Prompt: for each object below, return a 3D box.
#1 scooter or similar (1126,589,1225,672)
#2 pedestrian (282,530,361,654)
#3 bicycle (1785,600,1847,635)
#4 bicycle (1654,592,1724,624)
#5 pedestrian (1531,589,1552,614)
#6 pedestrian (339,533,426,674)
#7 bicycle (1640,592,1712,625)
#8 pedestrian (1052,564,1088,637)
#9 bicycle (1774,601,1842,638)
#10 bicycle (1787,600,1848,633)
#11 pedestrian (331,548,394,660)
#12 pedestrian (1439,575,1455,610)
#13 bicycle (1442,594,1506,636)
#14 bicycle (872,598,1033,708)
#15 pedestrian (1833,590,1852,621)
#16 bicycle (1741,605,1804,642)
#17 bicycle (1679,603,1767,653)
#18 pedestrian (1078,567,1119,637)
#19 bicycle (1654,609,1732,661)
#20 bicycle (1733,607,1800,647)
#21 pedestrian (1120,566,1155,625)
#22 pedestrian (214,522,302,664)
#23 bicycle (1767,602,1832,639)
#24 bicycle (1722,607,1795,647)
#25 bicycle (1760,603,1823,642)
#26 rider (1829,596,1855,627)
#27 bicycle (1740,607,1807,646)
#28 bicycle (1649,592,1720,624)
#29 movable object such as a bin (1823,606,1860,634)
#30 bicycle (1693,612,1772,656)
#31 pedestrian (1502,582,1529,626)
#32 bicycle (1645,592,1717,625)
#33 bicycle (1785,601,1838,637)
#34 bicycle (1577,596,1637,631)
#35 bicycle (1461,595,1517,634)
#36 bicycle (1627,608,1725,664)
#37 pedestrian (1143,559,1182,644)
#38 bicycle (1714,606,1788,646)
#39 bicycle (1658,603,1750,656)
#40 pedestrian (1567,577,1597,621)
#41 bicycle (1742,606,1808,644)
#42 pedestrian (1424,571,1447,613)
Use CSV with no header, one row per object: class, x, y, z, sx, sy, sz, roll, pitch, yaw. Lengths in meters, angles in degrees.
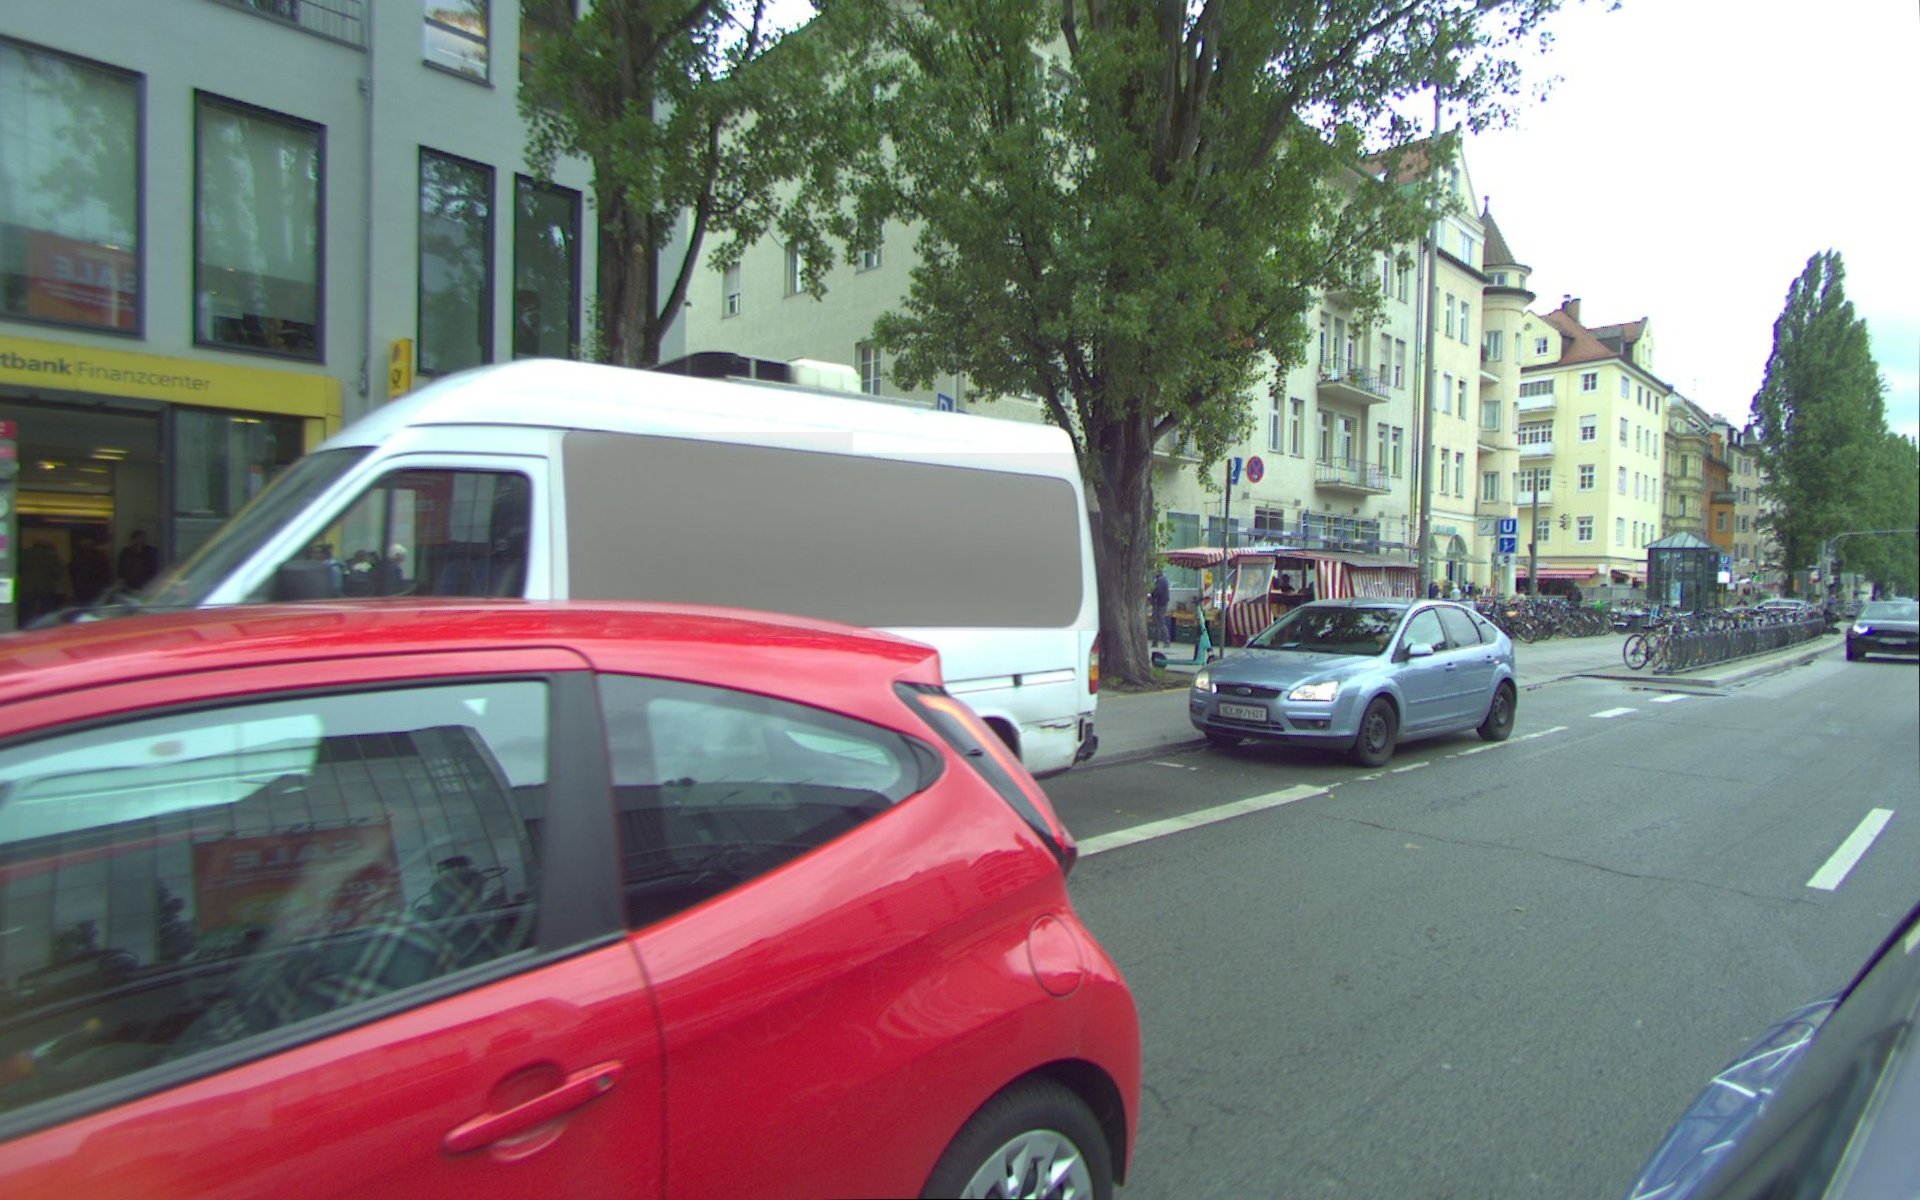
scooter or similar,3.428,0.462,16.121,1.457,1.222,0.396,3,2,30
pedestrian,-8.523,-0.116,13.514,0.760,1.604,0.691,0,2,-43
bicycle,29.993,0.603,35.484,0.468,1.151,1.682,0,1,-13
bicycle,31.022,0.320,43.099,0.617,1.242,2.317,0,2,-40
pedestrian,30.247,0.058,52.659,0.904,1.260,0.699,-2,3,-45
pedestrian,-7.408,0.032,13.013,0.725,1.745,0.722,2,2,-6
bicycle,29.540,0.345,41.784,0.617,1.242,2.317,0,2,-40
pedestrian,2.633,0.007,24.262,0.585,1.722,0.581,1,2,-35
bicycle,28.082,0.640,33.560,0.578,1.151,1.798,0,1,-7
bicycle,31.030,0.581,36.646,0.468,1.151,1.788,0,1,-9
pedestrian,-8.540,0.038,14.487,0.694,1.554,0.768,1,2,-26
pedestrian,22.012,-0.338,45.766,0.562,1.560,0.584,2,2,30
bicycle,15.107,0.421,29.767,0.402,1.116,1.635,0,3,-34
bicycle,-0.071,0.575,11.504,1.787,1.174,0.480,1,1,-27
pedestrian,53.022,0.312,60.817,0.728,1.823,0.701,2,3,38
bicycle,24.190,0.706,30.170,0.390,1.073,1.851,0,-2,2
bicycle,17.853,0.665,23.725,0.536,1.119,1.803,0,-2,-5
pedestrian,3.261,0.039,23.818,0.623,1.603,0.644,1,2,-35
bicycle,15.775,0.762,21.831,0.360,1.068,1.801,0,-2,0
bicycle,22.327,0.758,28.047,0.390,1.073,1.851,0,-2,2
pedestrian,5.129,-0.138,29.172,0.750,1.671,0.603,1,1,-36
pedestrian,-8.629,-0.098,12.442,0.785,1.669,0.691,0,1,-43
bicycle,27.195,0.654,32.802,0.480,1.151,1.798,0,1,-5
bicycle,21.712,0.746,27.564,0.389,1.073,1.803,0,-2,-5
bicycle,25.643,0.684,31.233,0.480,1.151,1.795,0,1,1
rider,37.230,0.486,42.708,0.730,1.256,0.721,5,4,44
bicycle,22.877,0.750,28.502,0.390,1.073,1.851,0,-2,2
bicycle,30.500,0.329,42.624,0.617,1.242,2.317,0,2,-40
movable object such as a bin,37.184,0.840,42.703,1.087,1.075,0.736,5,4,44
bicycle,18.737,0.824,24.590,0.378,1.024,1.803,0,-2,-5
pedestrian,20.570,0.143,37.477,0.527,1.602,0.661,1,1,-37
bicycle,30.027,0.337,42.174,0.617,1.242,2.317,0,2,-40
bicycle,28.554,0.632,33.974,0.341,1.151,1.528,0,1,-7
bicycle,22.041,0.460,34.502,0.403,1.091,1.652,0,3,-44
bicycle,16.224,0.425,31.056,1.446,1.091,0.404,4,3,39
bicycle,14.402,0.722,20.416,0.536,1.068,1.803,0,-2,-5
pedestrian,4.370,0.026,21.853,0.597,1.792,0.721,2,1,-2
bicycle,20.755,0.697,26.607,0.378,1.024,1.803,0,-2,-5
bicycle,16.369,0.657,22.323,0.536,1.119,1.803,0,-2,-5
pedestrian,25.002,-0.054,40.672,0.727,1.729,0.704,2,1,6
bicycle,23.341,0.727,29.015,0.390,1.073,1.851,0,-2,2
pedestrian,20.460,-0.355,43.545,0.634,1.759,0.617,0,3,-45
